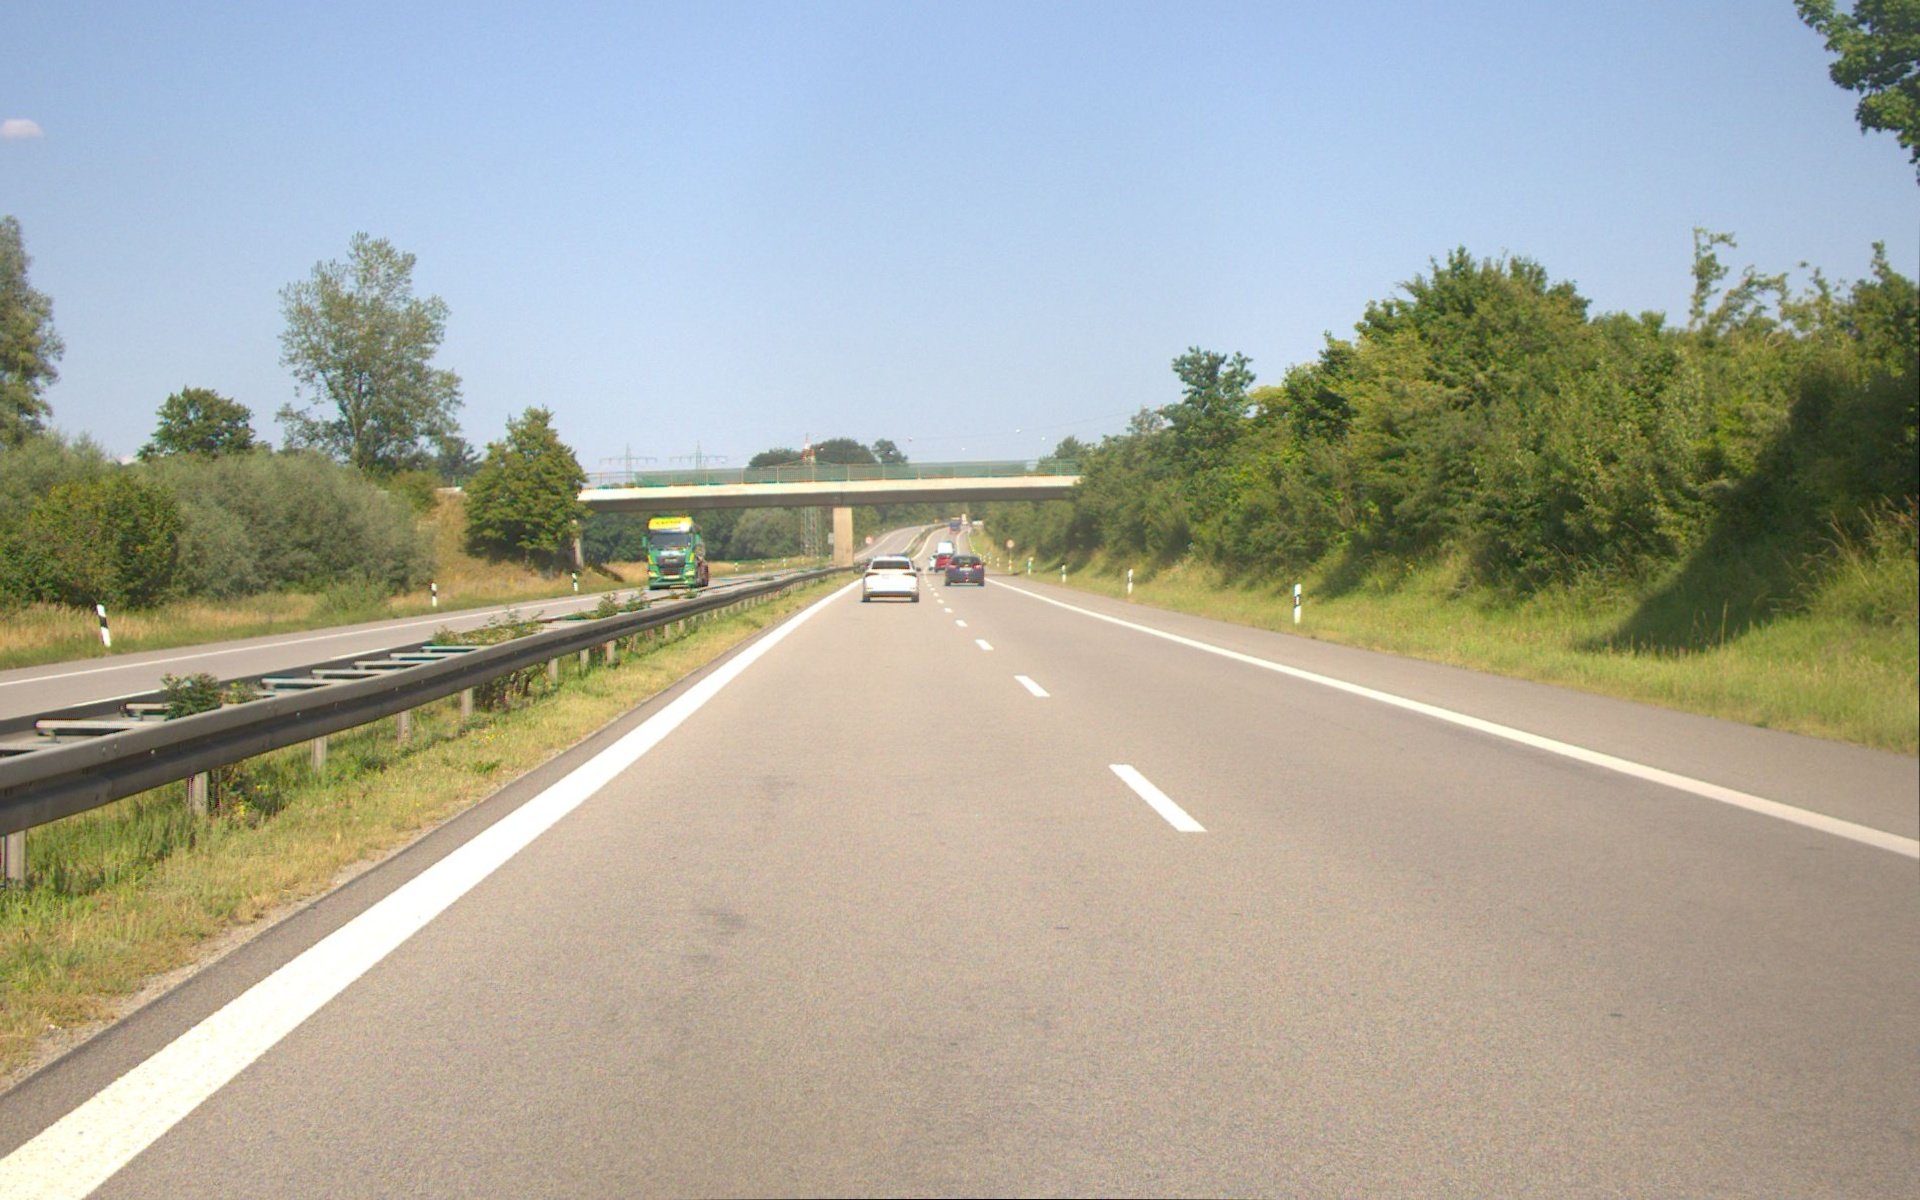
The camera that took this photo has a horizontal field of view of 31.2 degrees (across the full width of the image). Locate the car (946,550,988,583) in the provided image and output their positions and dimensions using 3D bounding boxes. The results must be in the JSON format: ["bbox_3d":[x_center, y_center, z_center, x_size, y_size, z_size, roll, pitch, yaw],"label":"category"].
[{"bbox_3d":[0.321,-1.611,163.217,1.843,1.515,4.000,1,1,-1],"label":"car"}]

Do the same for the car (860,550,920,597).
[{"bbox_3d":[-2.213,-0.853,108.428,1.843,1.411,4.000,1,1,-1],"label":"car"}]

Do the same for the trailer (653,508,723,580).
[{"bbox_3d":[-14.809,-3.051,188.028,2.980,3.718,12.421,-2,1,-1],"label":"trailer"}]

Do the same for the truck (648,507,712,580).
[{"bbox_3d":[-14.662,-2.964,180.500,2.955,3.718,5.569,-2,1,-1],"label":"truck"}]
